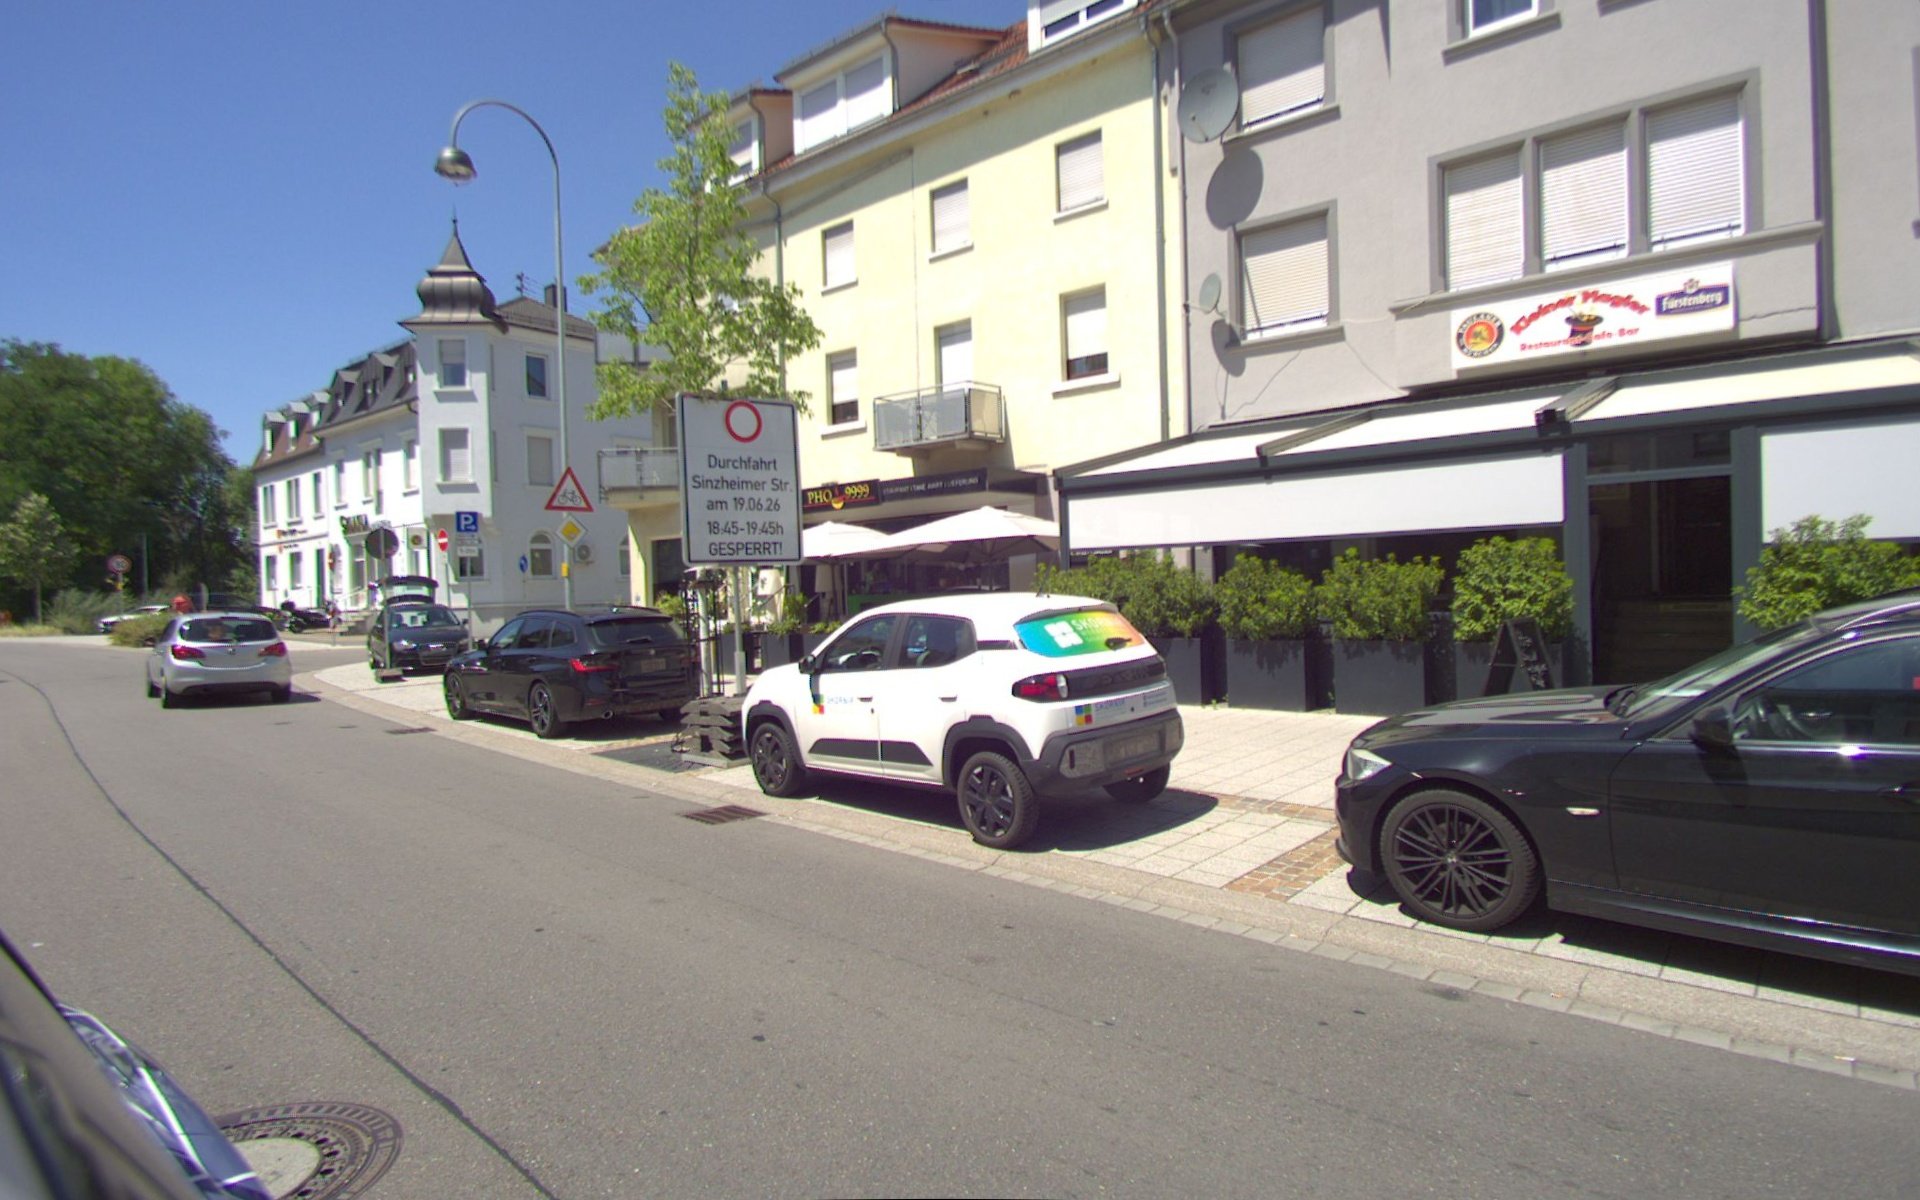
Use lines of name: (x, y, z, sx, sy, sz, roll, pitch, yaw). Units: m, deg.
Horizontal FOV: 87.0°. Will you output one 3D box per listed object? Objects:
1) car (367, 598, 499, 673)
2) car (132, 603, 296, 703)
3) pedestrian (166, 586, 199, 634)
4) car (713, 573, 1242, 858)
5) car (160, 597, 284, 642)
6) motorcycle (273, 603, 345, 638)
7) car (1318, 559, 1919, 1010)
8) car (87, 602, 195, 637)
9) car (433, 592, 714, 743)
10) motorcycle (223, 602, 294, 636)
car: (-11.563, 0.735, 22.078, 1.872, 1.452, 3.783, -1, 0, -38)
car: (-12.834, 0.849, 17.318, 1.662, 1.495, 4.088, 2, -2, -45)
pedestrian: (-29.715, 0.383, 38.700, 0.800, 1.779, 0.750, -1, -1, 31)
car: (-0.072, 0.639, 7.427, 1.662, 1.495, 3.771, -4, 2, -44)
car: (-31.072, 0.792, 42.677, 4.022, 1.752, 1.816, -1, 0, -45)
motorcycle: (-25.824, 0.796, 40.179, 0.726, 1.335, 2.291, -2, 0, 43)
car: (3.899, 0.586, 3.829, 4.450, 1.456, 1.735, -1, 2, 44)
car: (-39.235, 0.911, 48.594, 1.813, 1.548, 3.932, -1, 0, 6)
car: (-4.972, 0.726, 12.668, 1.662, 1.495, 4.343, -4, 2, -44)
motorcycle: (-28.763, 0.771, 41.515, 0.726, 1.335, 2.291, -2, 0, 43)
